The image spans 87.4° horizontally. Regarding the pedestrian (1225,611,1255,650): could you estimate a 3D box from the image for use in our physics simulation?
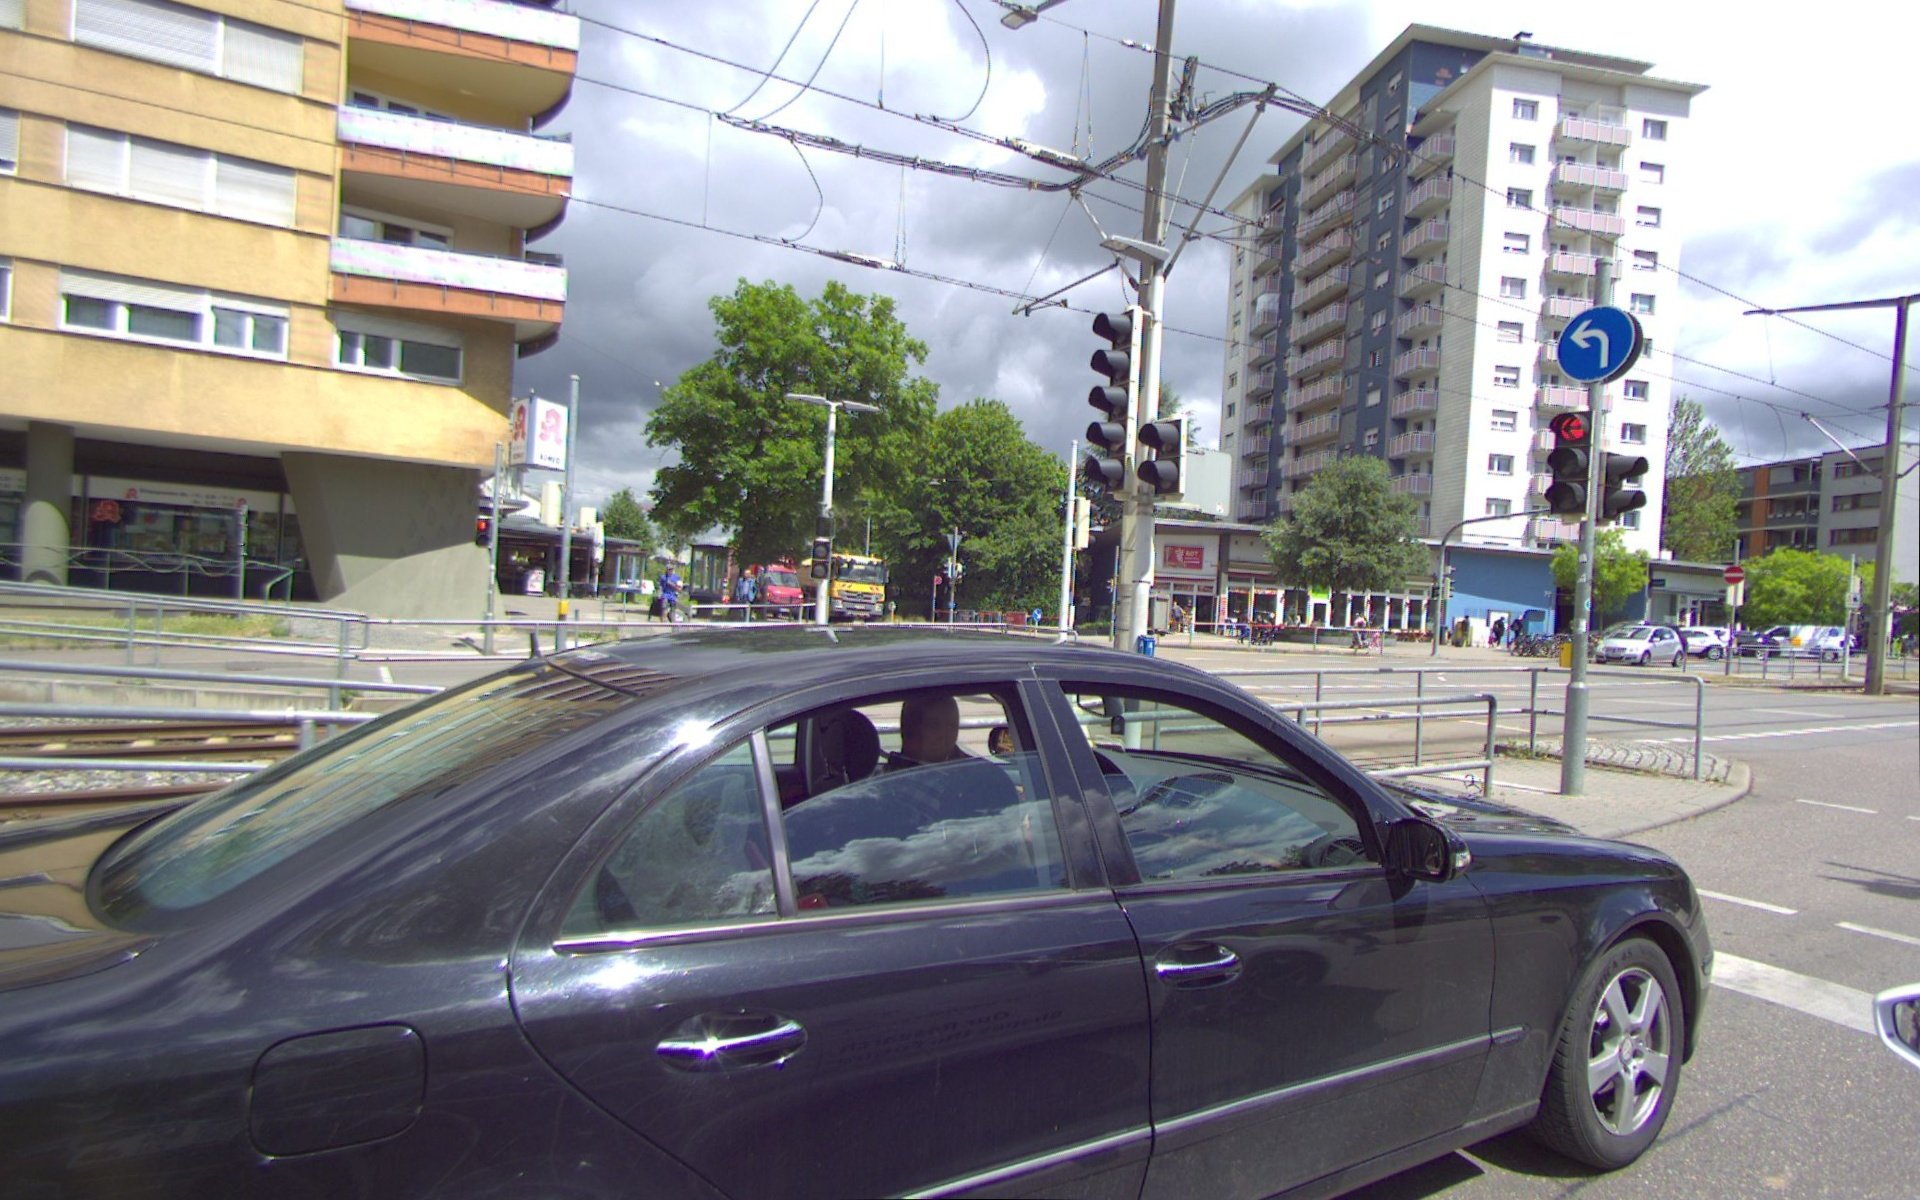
[{"bbox_3d":[12.617,1.369,45.306,0.977,1.681,0.969,2,-1,-4],"label":"pedestrian"}]

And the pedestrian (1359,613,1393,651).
[{"bbox_3d":[18.916,1.436,45.652,1.079,1.681,0.947,2,-1,-7],"label":"pedestrian"}]

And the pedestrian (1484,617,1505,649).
[{"bbox_3d":[28.013,1.713,52.668,0.693,1.637,0.760,1,0,-43],"label":"pedestrian"}]

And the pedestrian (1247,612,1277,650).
[{"bbox_3d":[13.700,1.404,45.543,0.977,1.681,0.969,2,-1,-4],"label":"pedestrian"}]

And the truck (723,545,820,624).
[{"bbox_3d":[-9.071,-0.682,47.441,2.692,3.320,8.876,2,0,-23],"label":"truck"}]

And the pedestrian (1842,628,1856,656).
[{"bbox_3d":[55.810,2.650,63.054,0.400,1.739,0.544,1,0,-30],"label":"pedestrian"}]

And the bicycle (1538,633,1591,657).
[{"bbox_3d":[26.225,1.953,43.597,0.490,0.947,1.933,2,0,-35],"label":"bicycle"}]

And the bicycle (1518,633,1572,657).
[{"bbox_3d":[24.897,1.905,42.778,0.490,0.947,1.933,2,0,-35],"label":"bicycle"}]

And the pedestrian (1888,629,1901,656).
[{"bbox_3d":[63.175,2.870,67.917,0.663,1.739,0.542,1,0,-40],"label":"pedestrian"}]

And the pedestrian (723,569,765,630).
[{"bbox_3d":[-6.183,-0.012,28.790,0.750,1.636,0.780,7,1,11],"label":"pedestrian"}]

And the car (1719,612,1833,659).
[{"bbox_3d":[47.506,2.001,58.746,2.776,2.511,6.724,2,0,17],"label":"car"}]

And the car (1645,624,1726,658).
[{"bbox_3d":[37.870,2.116,52.562,1.921,1.591,4.220,2,0,13],"label":"car"}]

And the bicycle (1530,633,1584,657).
[{"bbox_3d":[25.744,1.936,43.330,0.490,0.947,1.933,2,0,-35],"label":"bicycle"}]

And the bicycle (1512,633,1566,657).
[{"bbox_3d":[24.487,1.890,42.487,0.490,0.947,1.933,2,0,-35],"label":"bicycle"}]

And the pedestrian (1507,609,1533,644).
[{"bbox_3d":[32.411,1.525,58.127,1.203,1.942,0.859,1,1,-35],"label":"pedestrian"}]

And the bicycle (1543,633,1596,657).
[{"bbox_3d":[26.614,1.967,43.874,0.490,0.947,1.933,2,0,-35],"label":"bicycle"}]

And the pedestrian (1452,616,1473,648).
[{"bbox_3d":[25.823,1.643,51.575,0.758,1.637,0.694,2,0,43],"label":"pedestrian"}]

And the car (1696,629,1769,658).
[{"bbox_3d":[43.220,2.400,56.282,1.754,1.439,4.219,2,0,15],"label":"car"}]

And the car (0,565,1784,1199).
[{"bbox_3d":[0.104,0.740,2.635,4.491,1.481,1.720,2,0,-30],"label":"car"}]

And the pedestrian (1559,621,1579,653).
[{"bbox_3d":[32.479,1.972,53.580,0.694,1.637,0.759,1,0,-45],"label":"pedestrian"}]

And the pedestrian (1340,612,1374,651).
[{"bbox_3d":[17.751,1.415,44.963,1.079,1.681,0.947,2,-1,-7],"label":"pedestrian"}]

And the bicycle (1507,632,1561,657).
[{"bbox_3d":[24.116,1.877,42.209,0.490,0.947,1.933,2,0,-35],"label":"bicycle"}]

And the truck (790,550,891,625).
[{"bbox_3d":[-5.847,-0.565,47.976,2.733,3.244,7.442,2,0,-23],"label":"truck"}]

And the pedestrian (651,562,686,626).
[{"bbox_3d":[-7.764,-0.170,26.731,0.755,1.638,0.775,0,5,-25],"label":"pedestrian"}]

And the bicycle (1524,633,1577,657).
[{"bbox_3d":[25.282,1.919,43.051,0.490,0.947,1.933,2,0,-35],"label":"bicycle"}]

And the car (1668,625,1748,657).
[{"bbox_3d":[40.517,2.194,54.508,1.921,1.558,4.220,2,0,13],"label":"car"}]

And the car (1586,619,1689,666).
[{"bbox_3d":[26.898,1.683,39.868,3.827,1.715,1.928,2,0,-30],"label":"car"}]
